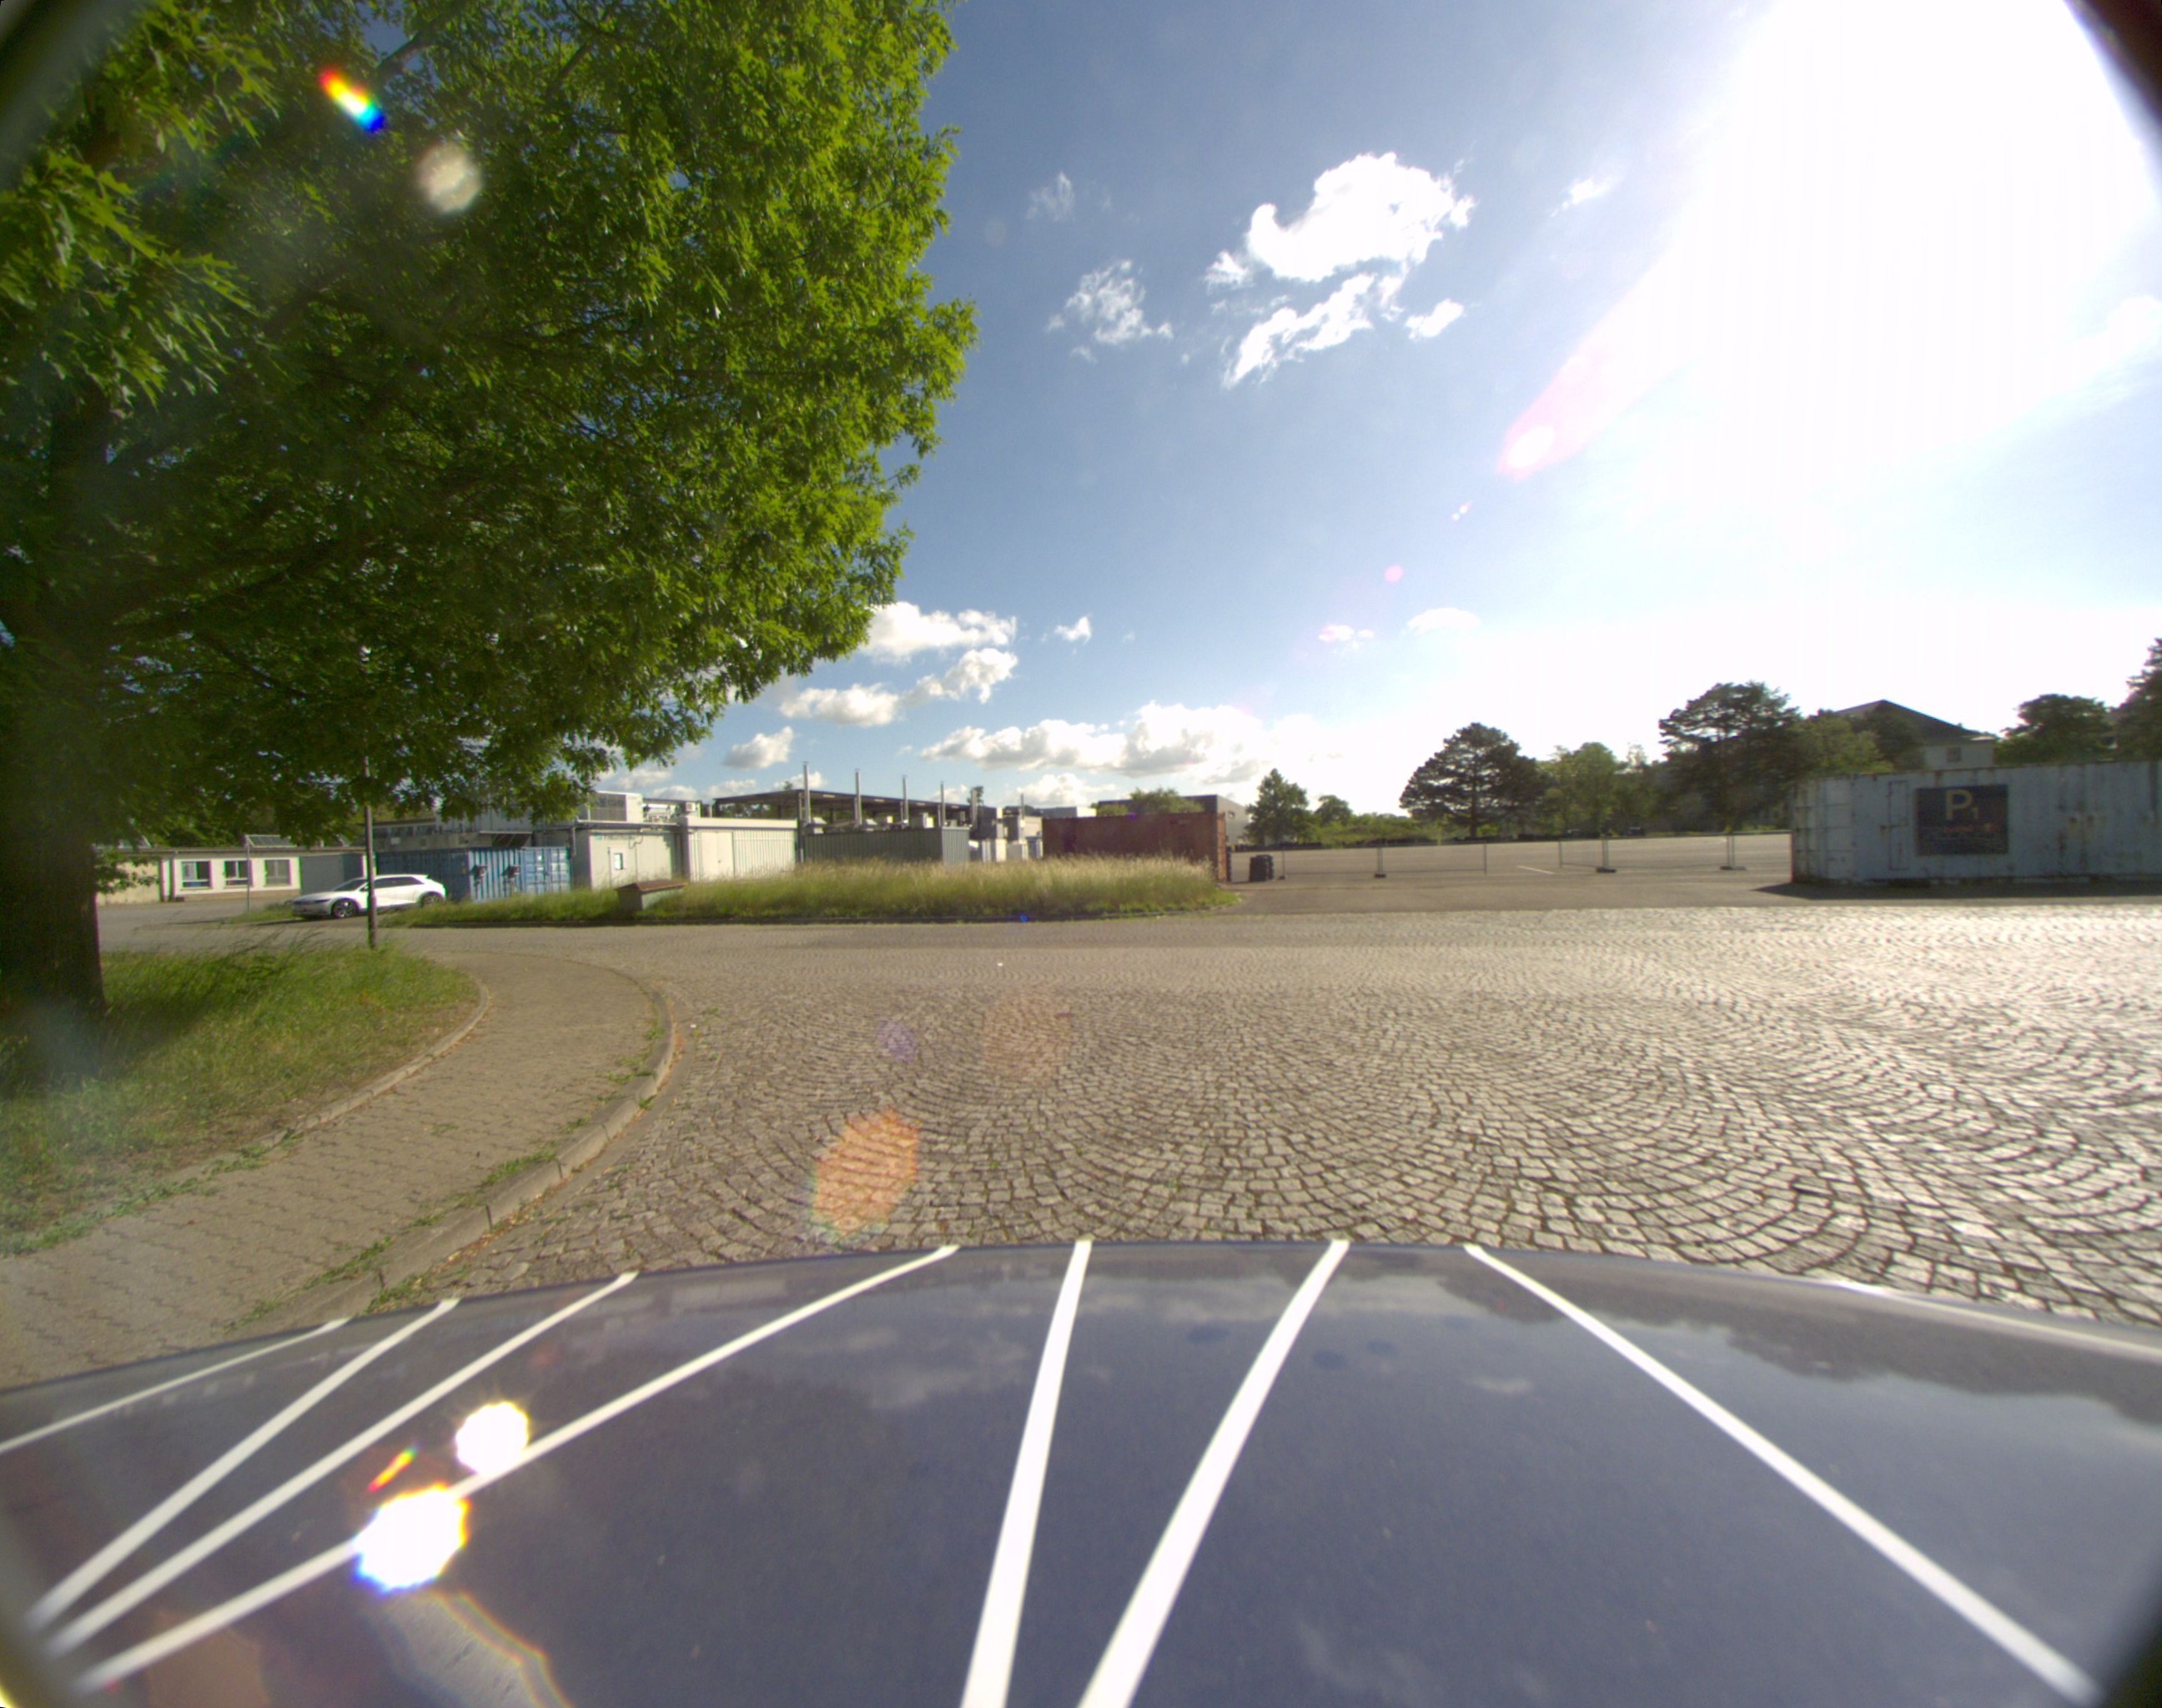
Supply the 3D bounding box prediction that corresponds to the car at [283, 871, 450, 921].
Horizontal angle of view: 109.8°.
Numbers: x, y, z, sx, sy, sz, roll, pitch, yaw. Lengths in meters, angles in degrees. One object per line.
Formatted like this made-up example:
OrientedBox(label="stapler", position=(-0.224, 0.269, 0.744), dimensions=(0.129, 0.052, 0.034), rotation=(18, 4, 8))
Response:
OrientedBox(label="car", position=(-28.625, 1.648, 30.656), dimensions=(1.821, 1.584, 4.524), rotation=(-3, 1, 17))
